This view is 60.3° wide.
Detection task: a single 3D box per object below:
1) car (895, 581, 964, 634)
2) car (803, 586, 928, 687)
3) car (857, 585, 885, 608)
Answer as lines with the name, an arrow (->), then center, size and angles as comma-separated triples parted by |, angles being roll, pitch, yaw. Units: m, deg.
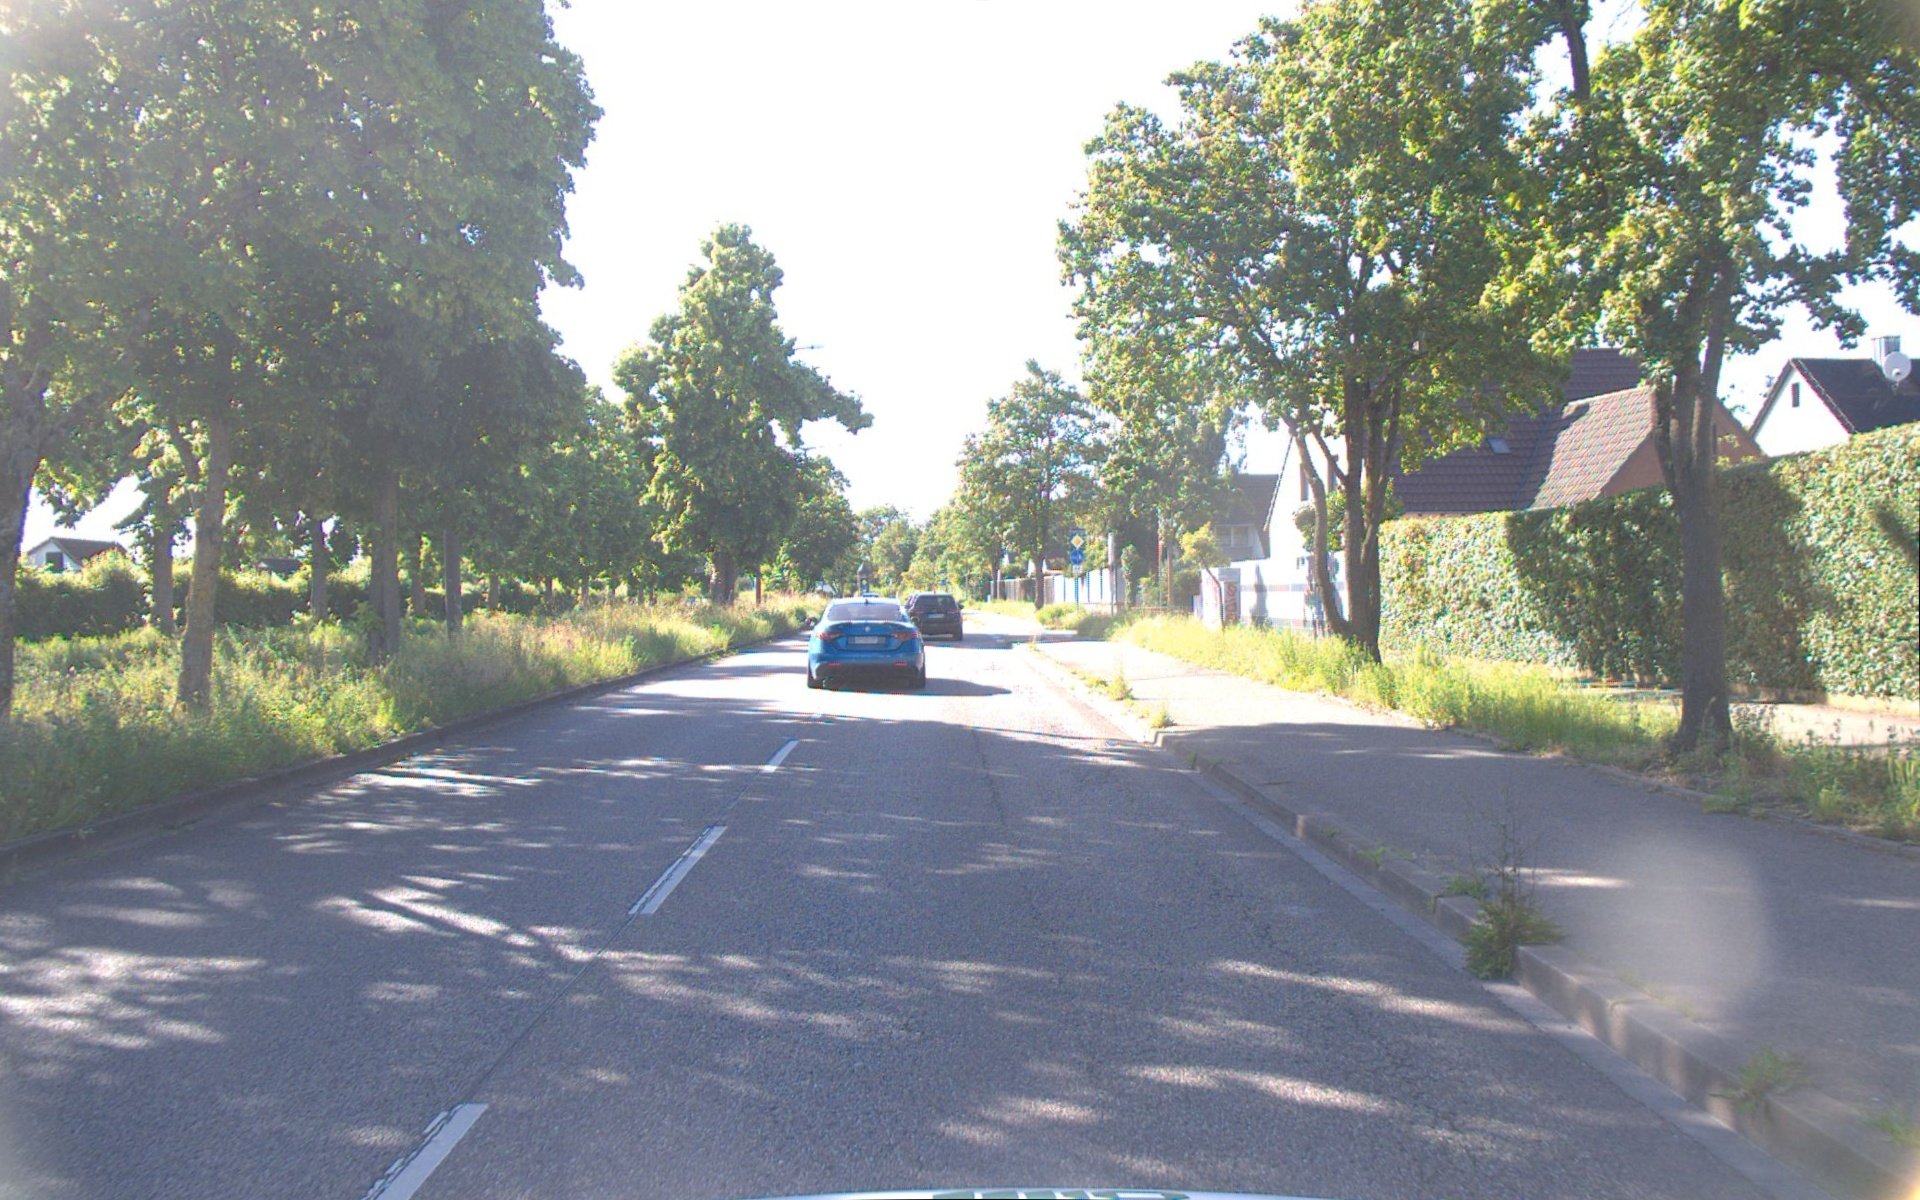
car -> -1.000, 0.206, 52.550 | 1.878, 1.607, 4.178 | -1, 0, -5
car -> -1.480, 0.582, 27.274 | 1.801, 1.500, 4.183 | -1, -1, 0
car -> -6.152, -0.224, 113.781 | 1.877, 1.538, 4.065 | -1, 0, -3
